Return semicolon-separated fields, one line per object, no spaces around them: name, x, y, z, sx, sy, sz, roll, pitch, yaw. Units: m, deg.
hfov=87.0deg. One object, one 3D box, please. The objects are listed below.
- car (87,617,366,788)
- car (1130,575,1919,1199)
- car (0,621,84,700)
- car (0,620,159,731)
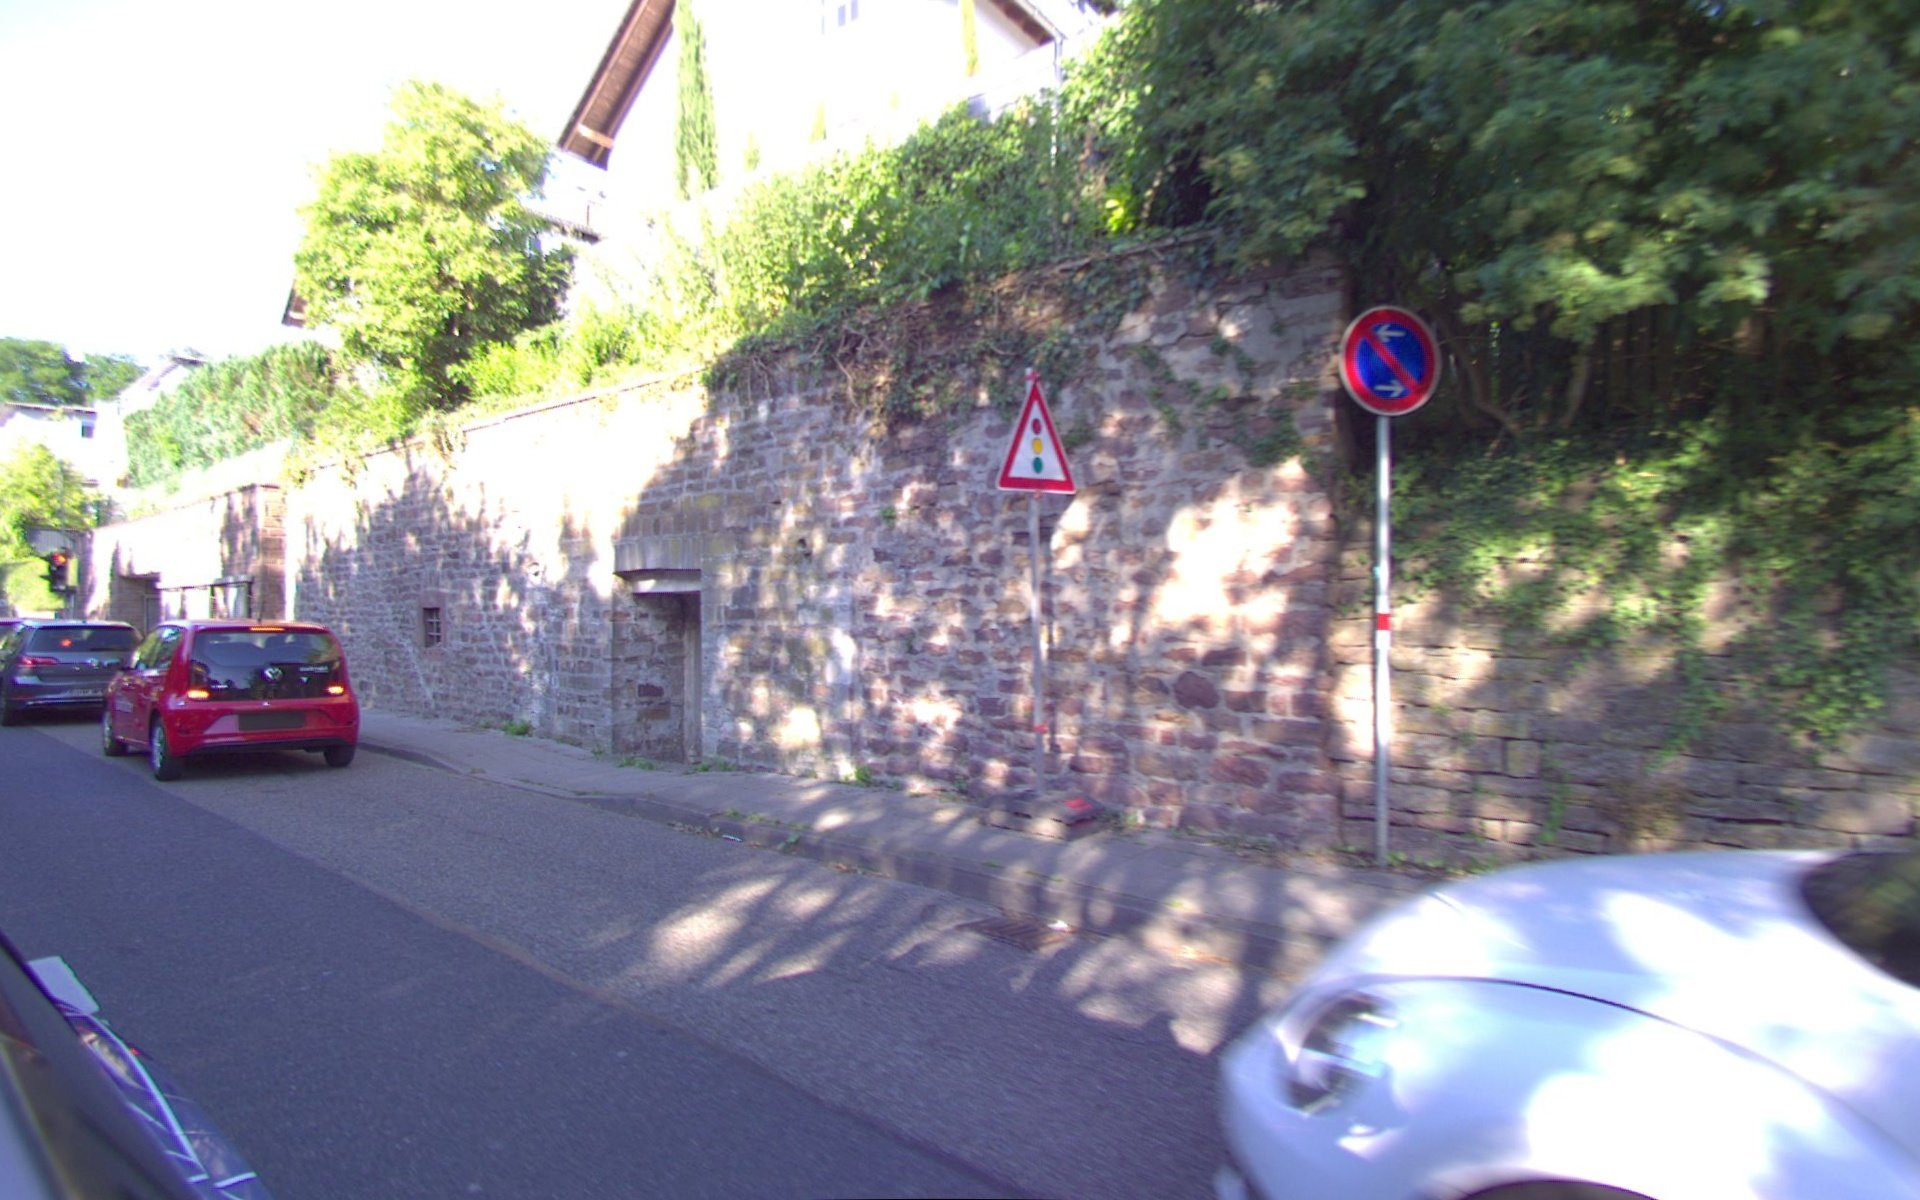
car;-7.692;0.941;10.510;3.566;1.477;1.534;-1;-3;41
car;2.388;0.731;1.282;3.998;1.486;1.723;-1;-3;41
car;-18.454;1.121;19.603;3.559;1.432;1.611;-1;-2;39
car;-13.297;1.020;14.856;3.927;1.422;1.632;-1;-2;40
